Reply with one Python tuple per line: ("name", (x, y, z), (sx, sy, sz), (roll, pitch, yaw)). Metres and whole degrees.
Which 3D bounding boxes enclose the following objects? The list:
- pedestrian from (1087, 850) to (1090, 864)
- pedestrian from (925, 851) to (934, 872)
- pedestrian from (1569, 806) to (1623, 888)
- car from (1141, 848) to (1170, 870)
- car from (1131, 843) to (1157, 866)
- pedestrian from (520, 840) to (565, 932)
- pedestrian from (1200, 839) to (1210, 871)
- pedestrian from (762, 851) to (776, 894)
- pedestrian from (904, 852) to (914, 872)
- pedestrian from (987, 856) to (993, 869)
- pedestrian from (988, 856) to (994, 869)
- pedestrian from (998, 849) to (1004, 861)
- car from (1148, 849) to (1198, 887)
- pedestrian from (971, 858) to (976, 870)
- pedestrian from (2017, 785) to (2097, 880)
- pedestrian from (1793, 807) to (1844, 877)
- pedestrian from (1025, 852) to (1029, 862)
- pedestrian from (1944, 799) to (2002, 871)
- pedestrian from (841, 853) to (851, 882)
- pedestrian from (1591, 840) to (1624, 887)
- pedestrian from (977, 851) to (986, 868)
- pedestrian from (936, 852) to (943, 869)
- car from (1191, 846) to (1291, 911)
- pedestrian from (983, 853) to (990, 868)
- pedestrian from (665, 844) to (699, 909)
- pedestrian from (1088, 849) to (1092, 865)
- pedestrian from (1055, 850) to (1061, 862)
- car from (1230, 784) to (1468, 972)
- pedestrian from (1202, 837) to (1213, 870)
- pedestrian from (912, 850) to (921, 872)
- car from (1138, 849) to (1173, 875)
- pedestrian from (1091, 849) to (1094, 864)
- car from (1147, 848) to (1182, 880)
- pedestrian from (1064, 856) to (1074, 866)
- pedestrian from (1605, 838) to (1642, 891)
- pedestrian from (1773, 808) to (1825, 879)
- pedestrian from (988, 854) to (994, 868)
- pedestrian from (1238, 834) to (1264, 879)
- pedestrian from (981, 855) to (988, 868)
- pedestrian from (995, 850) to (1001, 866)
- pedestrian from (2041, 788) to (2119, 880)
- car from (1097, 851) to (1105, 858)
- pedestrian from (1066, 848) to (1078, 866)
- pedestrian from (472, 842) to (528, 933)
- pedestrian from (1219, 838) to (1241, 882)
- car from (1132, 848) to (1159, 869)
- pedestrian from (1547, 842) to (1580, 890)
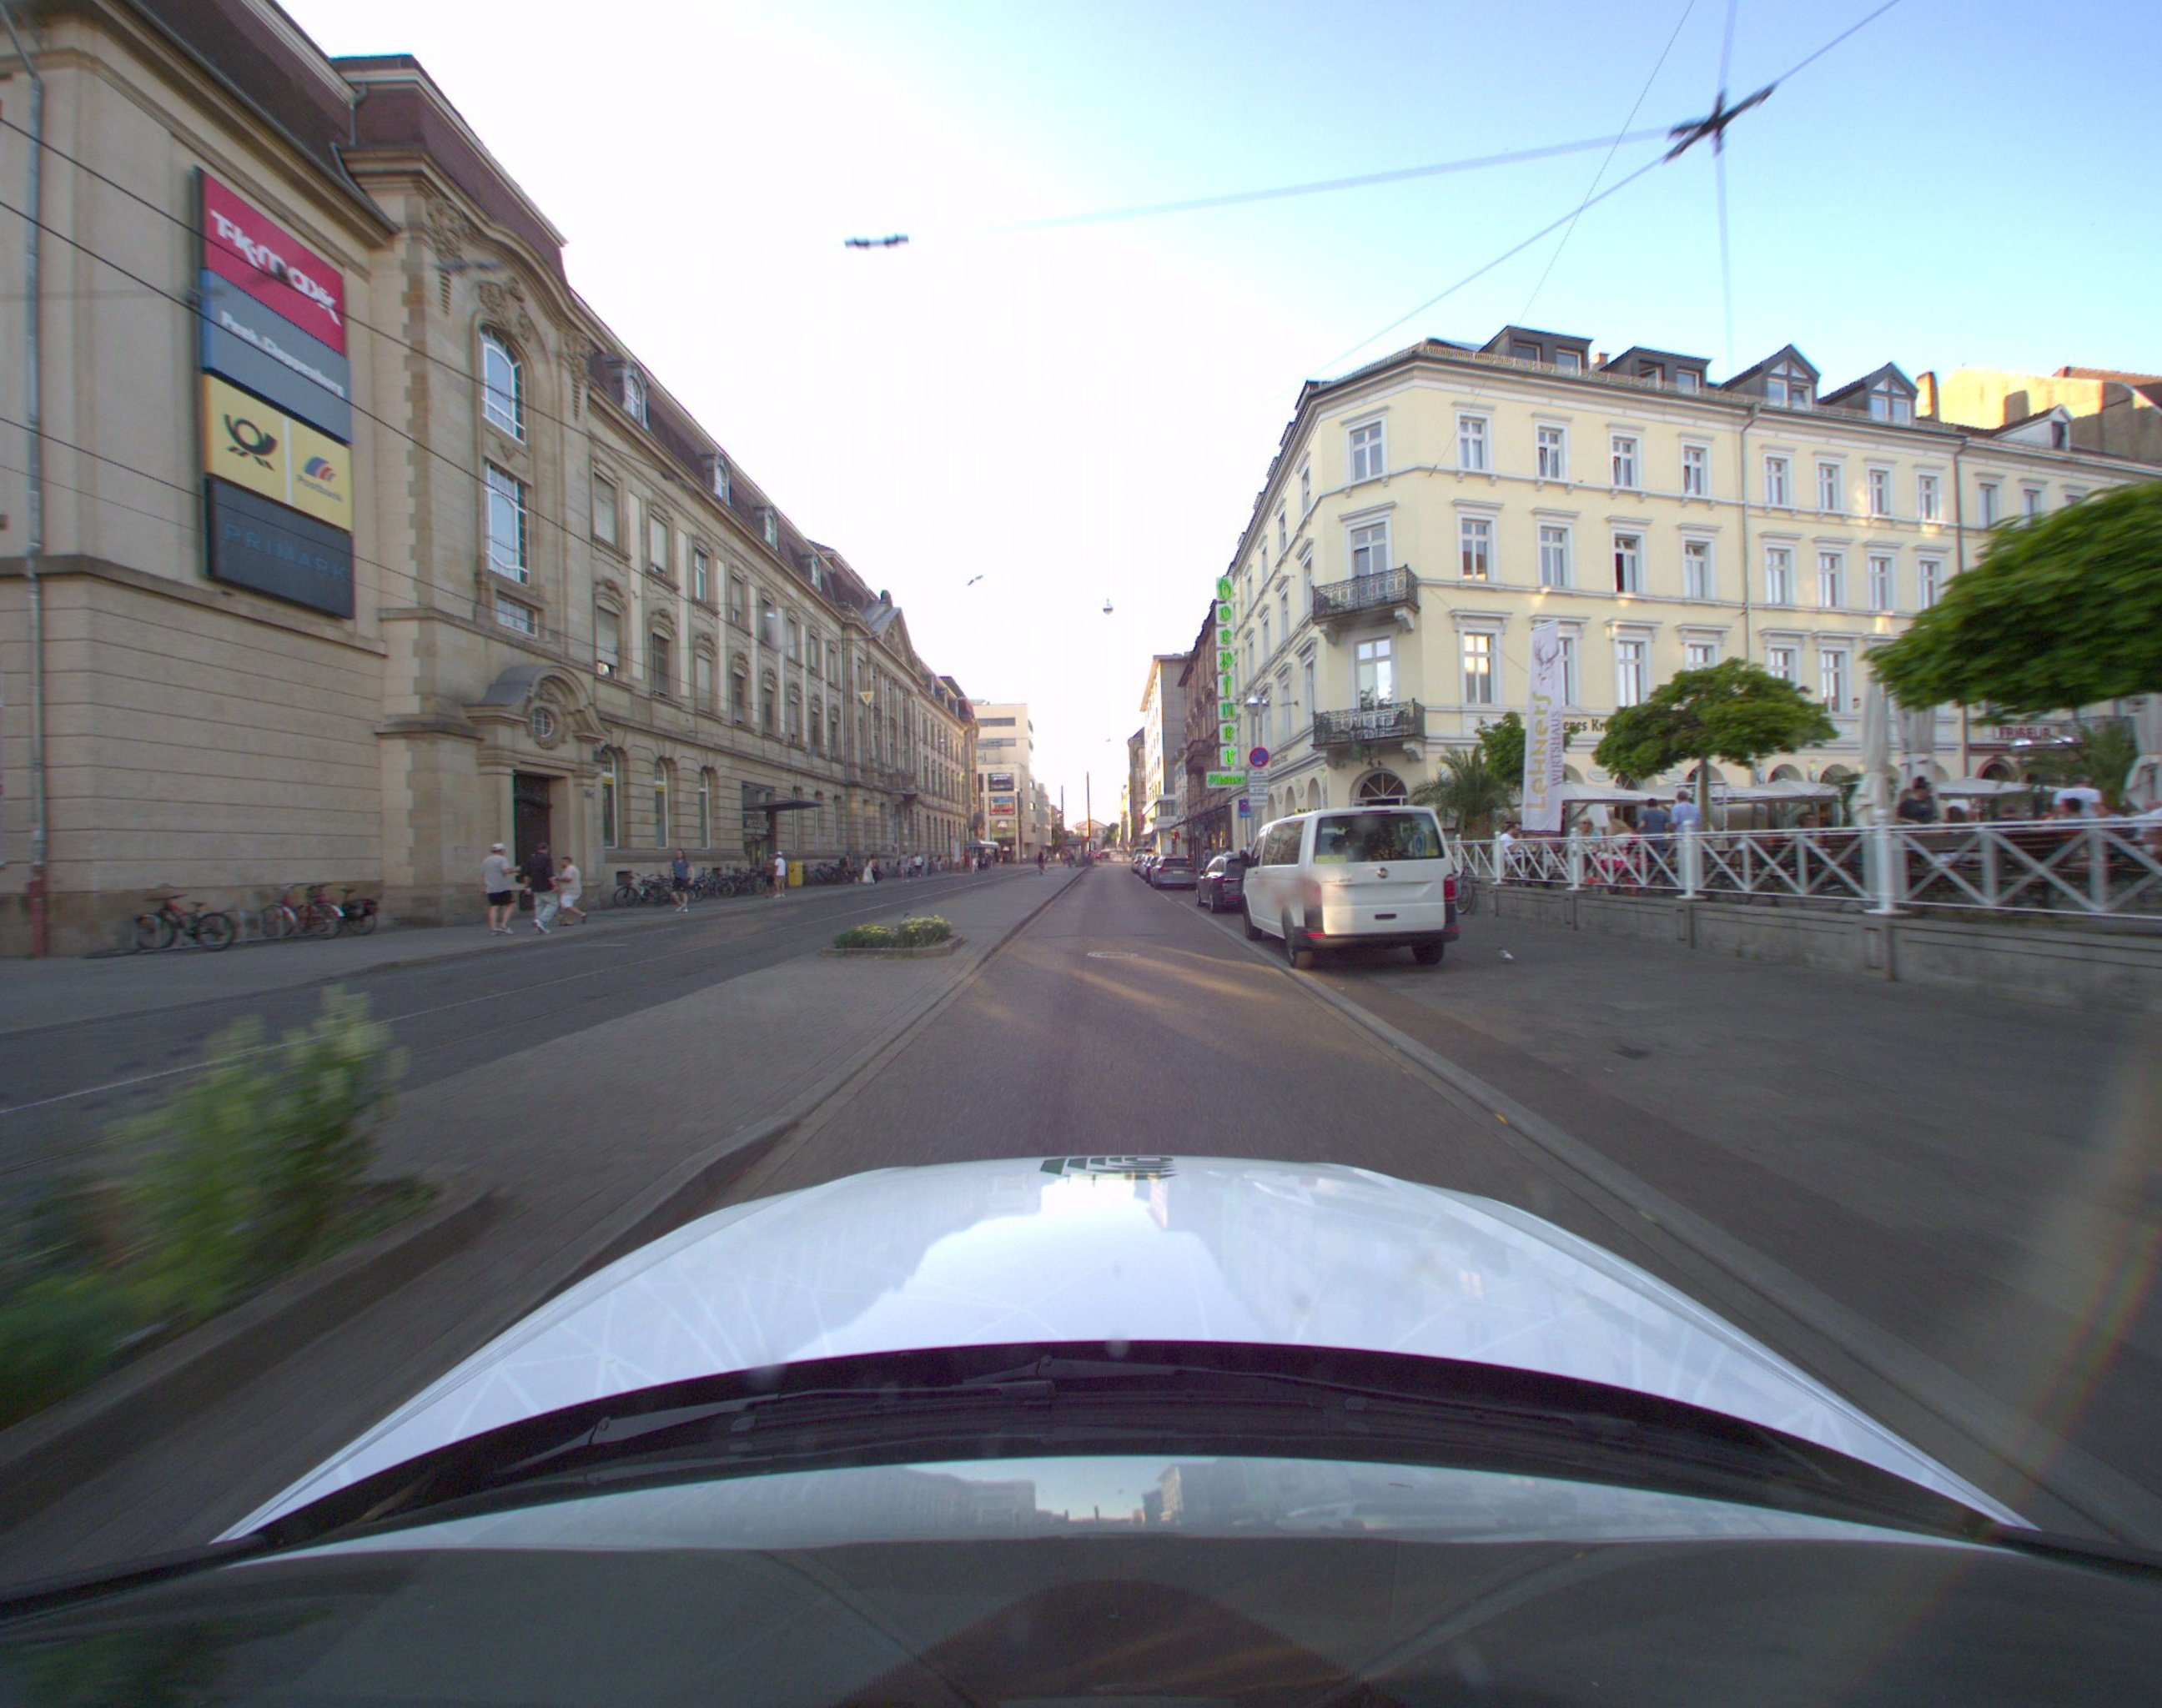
("pedestrian", (0.842, 0.315, 94.571), (0.384, 1.642, 0.549), (0, -1, -1))
("pedestrian", (-11.668, 0.562, 62.864), (0.567, 1.605, 0.442), (-1, -1, 8))
("pedestrian", (8.285, -0.114, 13.108), (0.531, 1.296, 0.488), (-1, 0, -14))
("car", (5.214, 0.369, 57.577), (1.720, 1.477, 4.821), (0, 0, 1))
("car", (5.352, 0.070, 69.641), (1.870, 1.923, 4.700), (1, 0, 1))
("pedestrian", (-10.598, 0.621, 16.043), (0.652, 1.736, 0.589), (-3, 0, -33))
("pedestrian", (6.972, 0.041, 45.648), (0.372, 1.768, 0.455), (-4, 0, -2))
("pedestrian", (-12.125, 0.726, 31.666), (0.374, 1.673, 0.492), (0, -1, -4))
("pedestrian", (-13.054, 0.609, 61.921), (0.435, 1.440, 0.575), (-1, -1, 38))
("pedestrian", (-9.478, 0.851, 84.582), (0.515, 1.327, 0.639), (-1, -1, 5))
("pedestrian", (-9.458, 0.857, 85.350), (0.515, 1.327, 0.639), (-1, -1, 5))
("pedestrian", (-9.881, 0.136, 101.022), (0.529, 1.525, 0.497), (-1, 0, -33))
("car", (4.044, 0.571, 36.346), (1.799, 1.475, 4.695), (0, 1, 1))
("pedestrian", (-9.917, 0.912, 75.067), (0.362, 1.102, 0.430), (0, -1, 7))
("pedestrian", (14.102, -0.301, 11.781), (0.487, 1.333, 0.532), (-1, 0, 1))
("pedestrian", (14.320, -0.228, 15.830), (0.487, 1.333, 0.532), (-1, 0, 1))
("pedestrian", (-10.006, 0.495, 150.383), (0.569, 1.855, 0.819), (-1, -1, 13))
("pedestrian", (17.089, -0.355, 15.609), (0.487, 1.333, 0.532), (-1, 0, 1))
("pedestrian", (-13.646, 0.788, 47.278), (0.362, 1.633, 0.430), (0, -1, 7))
("pedestrian", (14.678, 0.268, 22.704), (0.594, 1.280, 0.489), (-1, 0, -12))
("pedestrian", (-9.723, 0.570, 79.661), (0.513, 1.650, 0.641), (-2, -1, 23))
("pedestrian", (-13.323, 0.644, 76.694), (0.660, 1.562, 0.677), (-1, 0, -13))
("car", (3.959, 0.573, 20.869), (1.690, 1.390, 4.548), (-3, -1, 1))
("pedestrian", (-10.267, 0.729, 88.531), (0.515, 1.646, 0.639), (-1, -1, 5))
("pedestrian", (-11.046, 0.619, 22.549), (0.679, 1.736, 0.480), (-3, 0, -13))
("pedestrian", (0.982, 0.302, 91.557), (0.411, 1.767, 0.594), (0, -1, -1))
("pedestrian", (-3.372, 0.266, 117.574), (0.695, 1.815, 0.855), (-1, -1, 11))
("car", (3.525, 0.285, 11.891), (1.845, 2.067, 5.217), (-2, 0, 2))
("pedestrian", (7.027, -0.034, 45.177), (0.372, 1.768, 0.663), (-4, 0, -2))
("pedestrian", (-12.341, 0.530, 61.003), (0.473, 1.642, 0.563), (0, -1, 6))
("car", (4.487, 0.488, 49.591), (1.726, 1.511, 4.866), (1, 0, 1))
("pedestrian", (1.378, 0.258, 97.386), (0.340, 1.796, 0.544), (0, -1, -1))
("car", (4.389, 0.496, 43.079), (1.725, 1.590, 4.447), (1, 0, 4))
("pedestrian", (-1.157, 0.715, 80.086), (0.791, 0.939, 0.697), (-1, 0, 24))
("pedestrian", (14.021, 0.266, 21.044), (0.594, 1.328, 0.489), (-1, 0, -12))
("pedestrian", (13.759, -0.198, 15.615), (0.487, 1.333, 0.532), (-1, 0, 1))
("pedestrian", (-9.899, 0.749, 89.291), (0.515, 1.569, 0.639), (-1, -1, 5))
("pedestrian", (6.841, 0.099, 32.771), (0.752, 1.689, 0.555), (-6, 0, 26))
("pedestrian", (-9.693, 0.768, 81.974), (0.515, 1.327, 0.639), (-1, -1, 5))
("pedestrian", (-9.413, 0.480, 92.375), (0.558, 1.776, 0.468), (-1, 0, -3))
("pedestrian", (14.970, -0.299, 12.215), (0.528, 1.333, 0.491), (-1, 0, 1))
("car", (5.122, 0.141, 208.579), (1.986, 1.904, 4.000), (0, -1, 1))
("pedestrian", (-0.812, 0.235, 75.039), (0.679, 1.638, 0.866), (-1, 0, 42))
("pedestrian", (-11.500, 0.649, 16.132), (0.681, 1.736, 0.672), (-3, 0, -21))
("pedestrian", (6.059, 0.238, 33.039), (0.613, 1.689, 0.488), (-6, 0, 22))
("car", (4.967, 0.327, 62.807), (1.799, 1.483, 4.779), (1, 0, 1))
("pedestrian", (13.360, 0.327, 22.553), (0.594, 1.280, 0.489), (-1, 0, -12))
